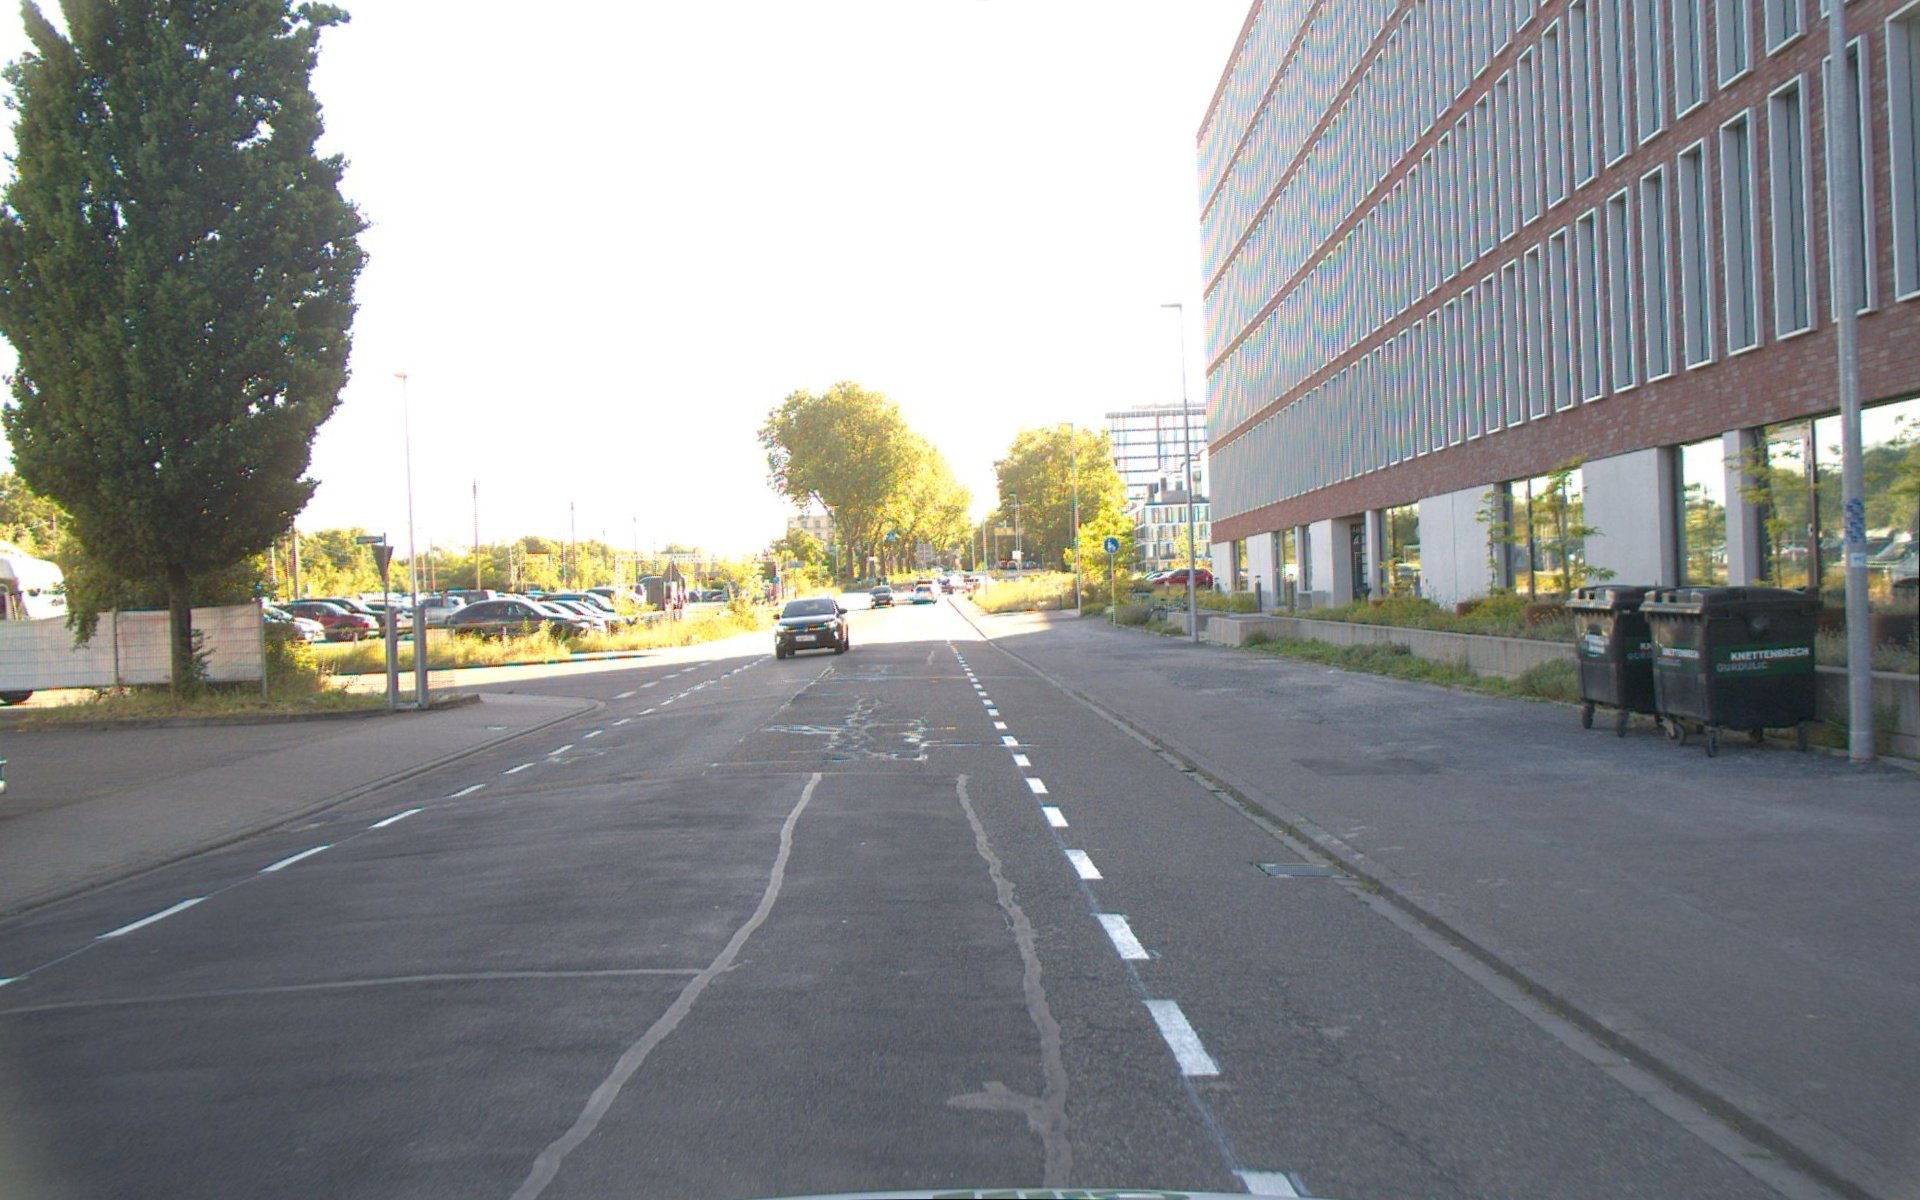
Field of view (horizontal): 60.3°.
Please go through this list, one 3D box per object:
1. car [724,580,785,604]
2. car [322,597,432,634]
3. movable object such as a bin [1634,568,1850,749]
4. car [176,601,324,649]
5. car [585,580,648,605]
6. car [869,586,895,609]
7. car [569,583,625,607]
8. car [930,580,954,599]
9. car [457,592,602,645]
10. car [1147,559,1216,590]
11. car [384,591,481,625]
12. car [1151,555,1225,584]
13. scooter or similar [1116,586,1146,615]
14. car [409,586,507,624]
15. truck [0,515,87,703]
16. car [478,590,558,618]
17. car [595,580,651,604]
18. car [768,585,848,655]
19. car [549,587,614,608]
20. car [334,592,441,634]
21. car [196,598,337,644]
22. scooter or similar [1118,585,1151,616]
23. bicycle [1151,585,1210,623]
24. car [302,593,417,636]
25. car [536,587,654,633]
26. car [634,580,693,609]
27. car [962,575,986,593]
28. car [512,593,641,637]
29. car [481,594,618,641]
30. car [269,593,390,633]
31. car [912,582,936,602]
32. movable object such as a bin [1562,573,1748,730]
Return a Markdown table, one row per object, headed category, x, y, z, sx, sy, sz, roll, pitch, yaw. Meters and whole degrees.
| category | x | y | z | sx | sy | sz | roll | pitch | yaw |
| --- | --- | --- | --- | --- | --- | --- | --- | --- | --- |
| car | -16.913 | -0.681 | 136.446 | 4.748 | 1.866 | 1.999 | -1 | 1 | -2 |
| car | -25.300 | 0.681 | 71.887 | 4.079 | 1.421 | 2.046 | -2 | 1 | -5 |
| movable object such as a bin | 6.510 | 0.455 | 13.852 | 1.106 | 1.395 | 1.345 | -2 | 1 | -2 |
| car | -25.029 | 0.876 | 58.451 | 4.317 | 1.490 | 2.046 | -2 | 1 | -5 |
| car | -27.144 | -0.601 | 130.901 | 4.485 | 1.771 | 2.059 | -1 | 1 | 2 |
| car | -5.554 | -0.199 | 117.705 | 1.620 | 1.529 | 3.999 | -3 | 0 | -1 |
| car | -27.128 | -0.369 | 123.643 | 3.805 | 1.631 | 1.878 | -1 | 1 | -2 |
| car | -1.690 | -0.952 | 154.184 | 2.119 | 1.713 | 4.000 | -1 | 0 | 0 |
| car | -14.608 | 0.615 | 56.266 | 4.338 | 1.608 | 2.048 | -2 | 1 | 0 |
| car | 13.926 | -1.571 | 104.117 | 4.097 | 1.608 | 1.851 | -2 | -5 | 2 |
| car | -26.706 | 0.391 | 83.860 | 4.278 | 1.572 | 1.857 | -1 | 1 | -1 |
| car | 13.380 | -1.791 | 97.160 | 4.097 | 1.608 | 1.852 | -1 | 1 | 2 |
| scooter or similar | 7.201 | 0.014 | 69.591 | 1.217 | 1.176 | 0.366 | -1 | 0 | 3 |
| car | -26.163 | 0.230 | 86.255 | 4.483 | 1.836 | 1.857 | -1 | 1 | -1 |
| truck | -23.585 | 0.287 | 33.722 | 9.896 | 3.678 | 2.774 | -1 | 0 | -3 |
| car | -26.591 | 0.207 | 99.558 | 4.233 | 1.550 | 1.878 | -1 | 1 | -1 |
| car | -27.831 | -0.677 | 136.583 | 4.235 | 1.823 | 1.878 | -1 | 1 | -2 |
| car | -3.917 | 0.490 | 43.212 | 1.706 | 1.552 | 4.110 | -6 | 1 | -2 |
| car | -27.025 | -0.167 | 118.223 | 4.235 | 1.400 | 1.878 | -1 | 1 | -2 |
| car | -25.631 | 0.564 | 74.187 | 4.078 | 1.691 | 1.965 | -2 | 1 | -4 |
| car | -25.589 | 0.752 | 61.167 | 4.317 | 1.490 | 2.046 | -2 | 1 | -5 |
| scooter or similar | 7.193 | 0.012 | 68.033 | 1.312 | 1.267 | 0.424 | -1 | 0 | 3 |
| bicycle | 7.530 | 0.128 | 56.434 | 1.895 | 1.190 | 0.374 | -3 | 0 | -8 |
| car | -25.162 | 0.604 | 69.446 | 4.079 | 1.606 | 2.046 | -2 | 1 | -5 |
| car | -14.953 | 0.410 | 67.967 | 4.338 | 1.699 | 2.048 | -2 | 1 | 0 |
| car | -27.244 | -0.504 | 152.162 | 4.994 | 2.502 | 2.319 | -1 | 1 | -2 |
| car | 1.373 | -1.520 | 159.622 | 2.118 | 1.713 | 4.002 | -1 | 1 | 4 |
| car | -14.418 | 0.546 | 62.418 | 4.338 | 1.487 | 2.048 | -2 | 1 | 0 |
| car | -14.646 | 0.620 | 59.171 | 4.338 | 1.487 | 2.048 | -2 | 1 | 0 |
| car | -25.276 | 0.523 | 66.399 | 4.079 | 1.421 | 2.046 | -2 | 1 | -5 |
| car | -2.735 | -0.606 | 125.233 | 1.753 | 1.445 | 4.000 | -1 | 1 | -1 |
| movable object such as a bin | 6.470 | 0.450 | 15.483 | 1.106 | 1.359 | 1.345 | -2 | 1 | -2 |
